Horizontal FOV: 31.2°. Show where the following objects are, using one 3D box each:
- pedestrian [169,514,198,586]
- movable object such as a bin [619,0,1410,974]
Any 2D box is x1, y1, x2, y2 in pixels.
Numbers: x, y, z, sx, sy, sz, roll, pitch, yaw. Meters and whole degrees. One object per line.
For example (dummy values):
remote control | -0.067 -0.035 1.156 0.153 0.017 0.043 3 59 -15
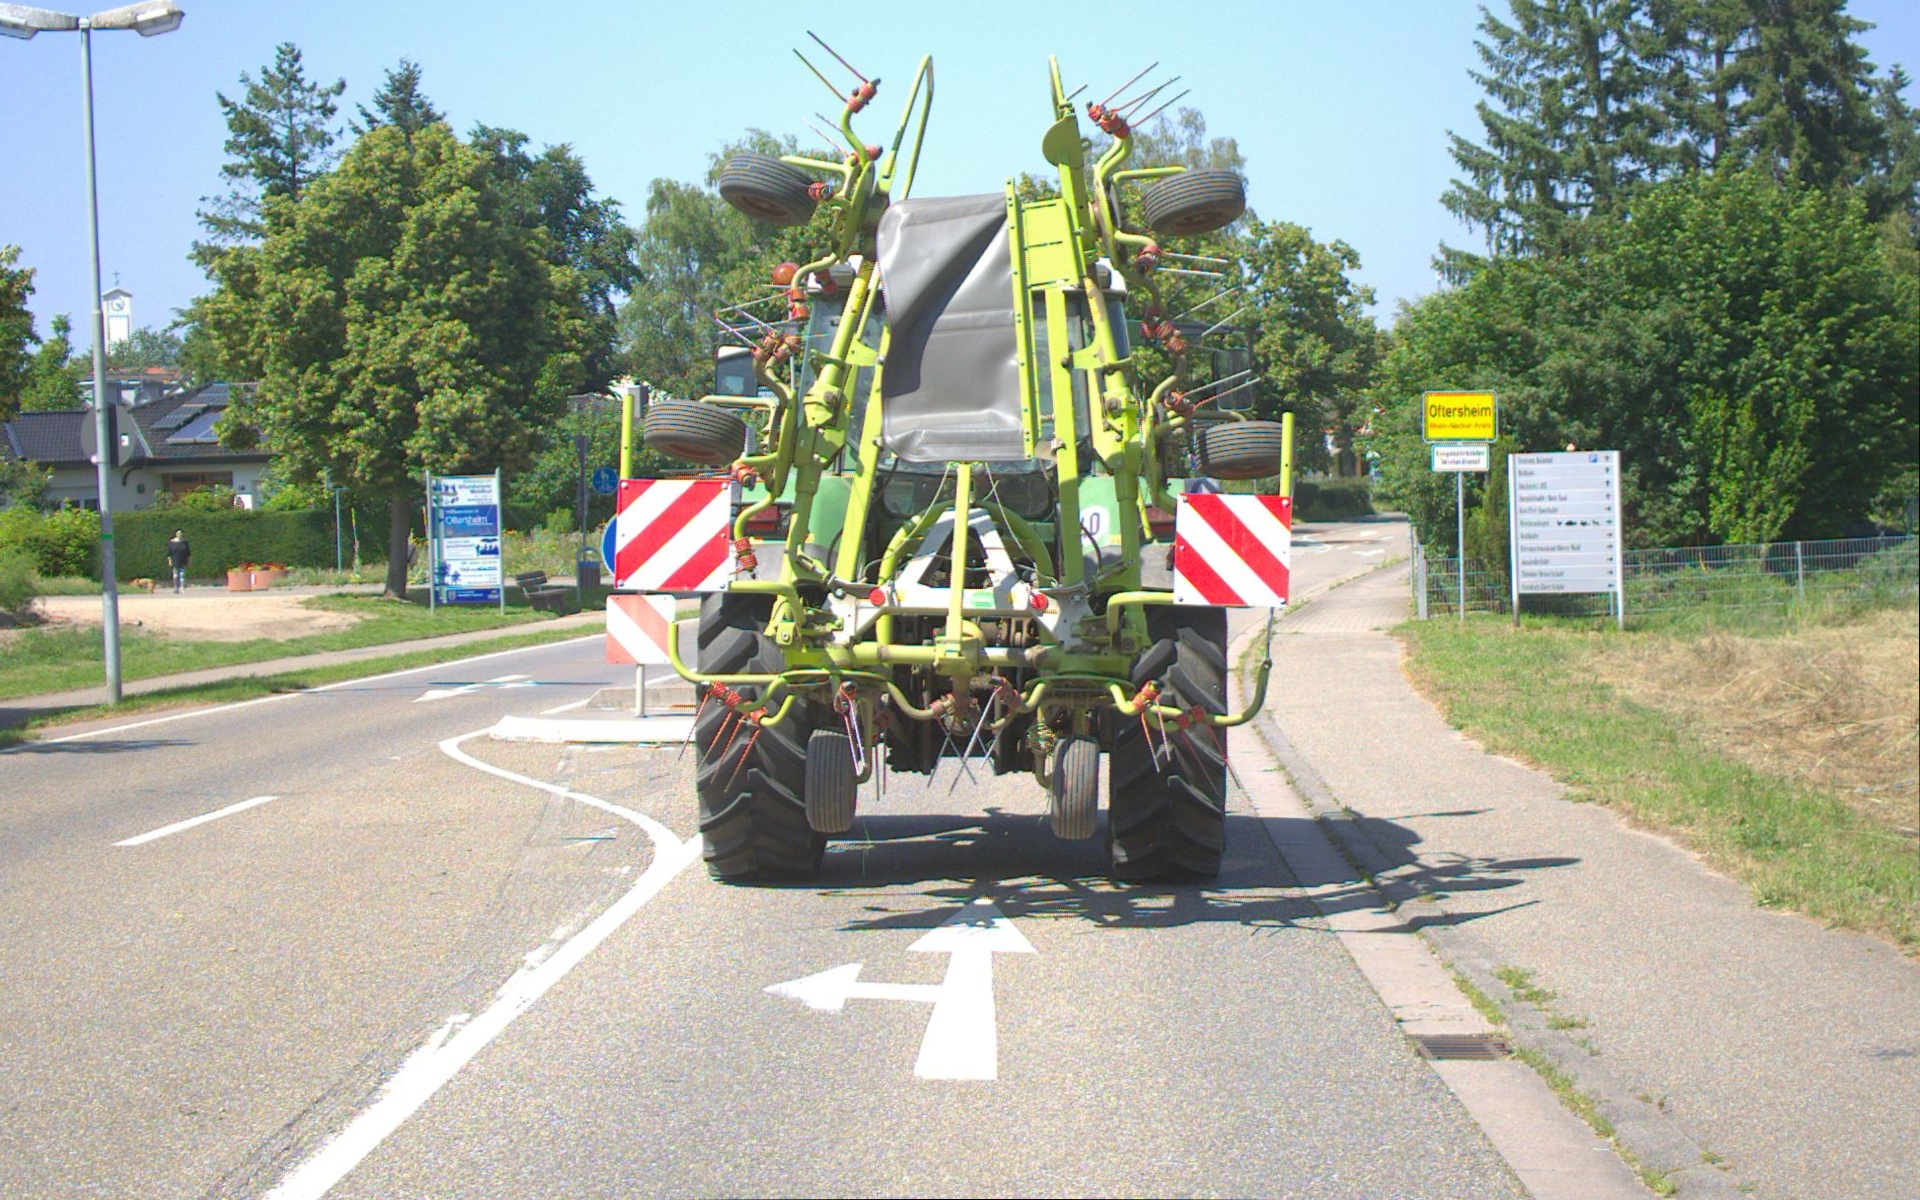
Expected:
pedestrian | -18.650 -1.205 82.576 0.549 1.711 0.676 1 -1 -22
movable object such as a bin | 0.205 -0.534 17.285 2.853 3.529 9.701 0 1 0
